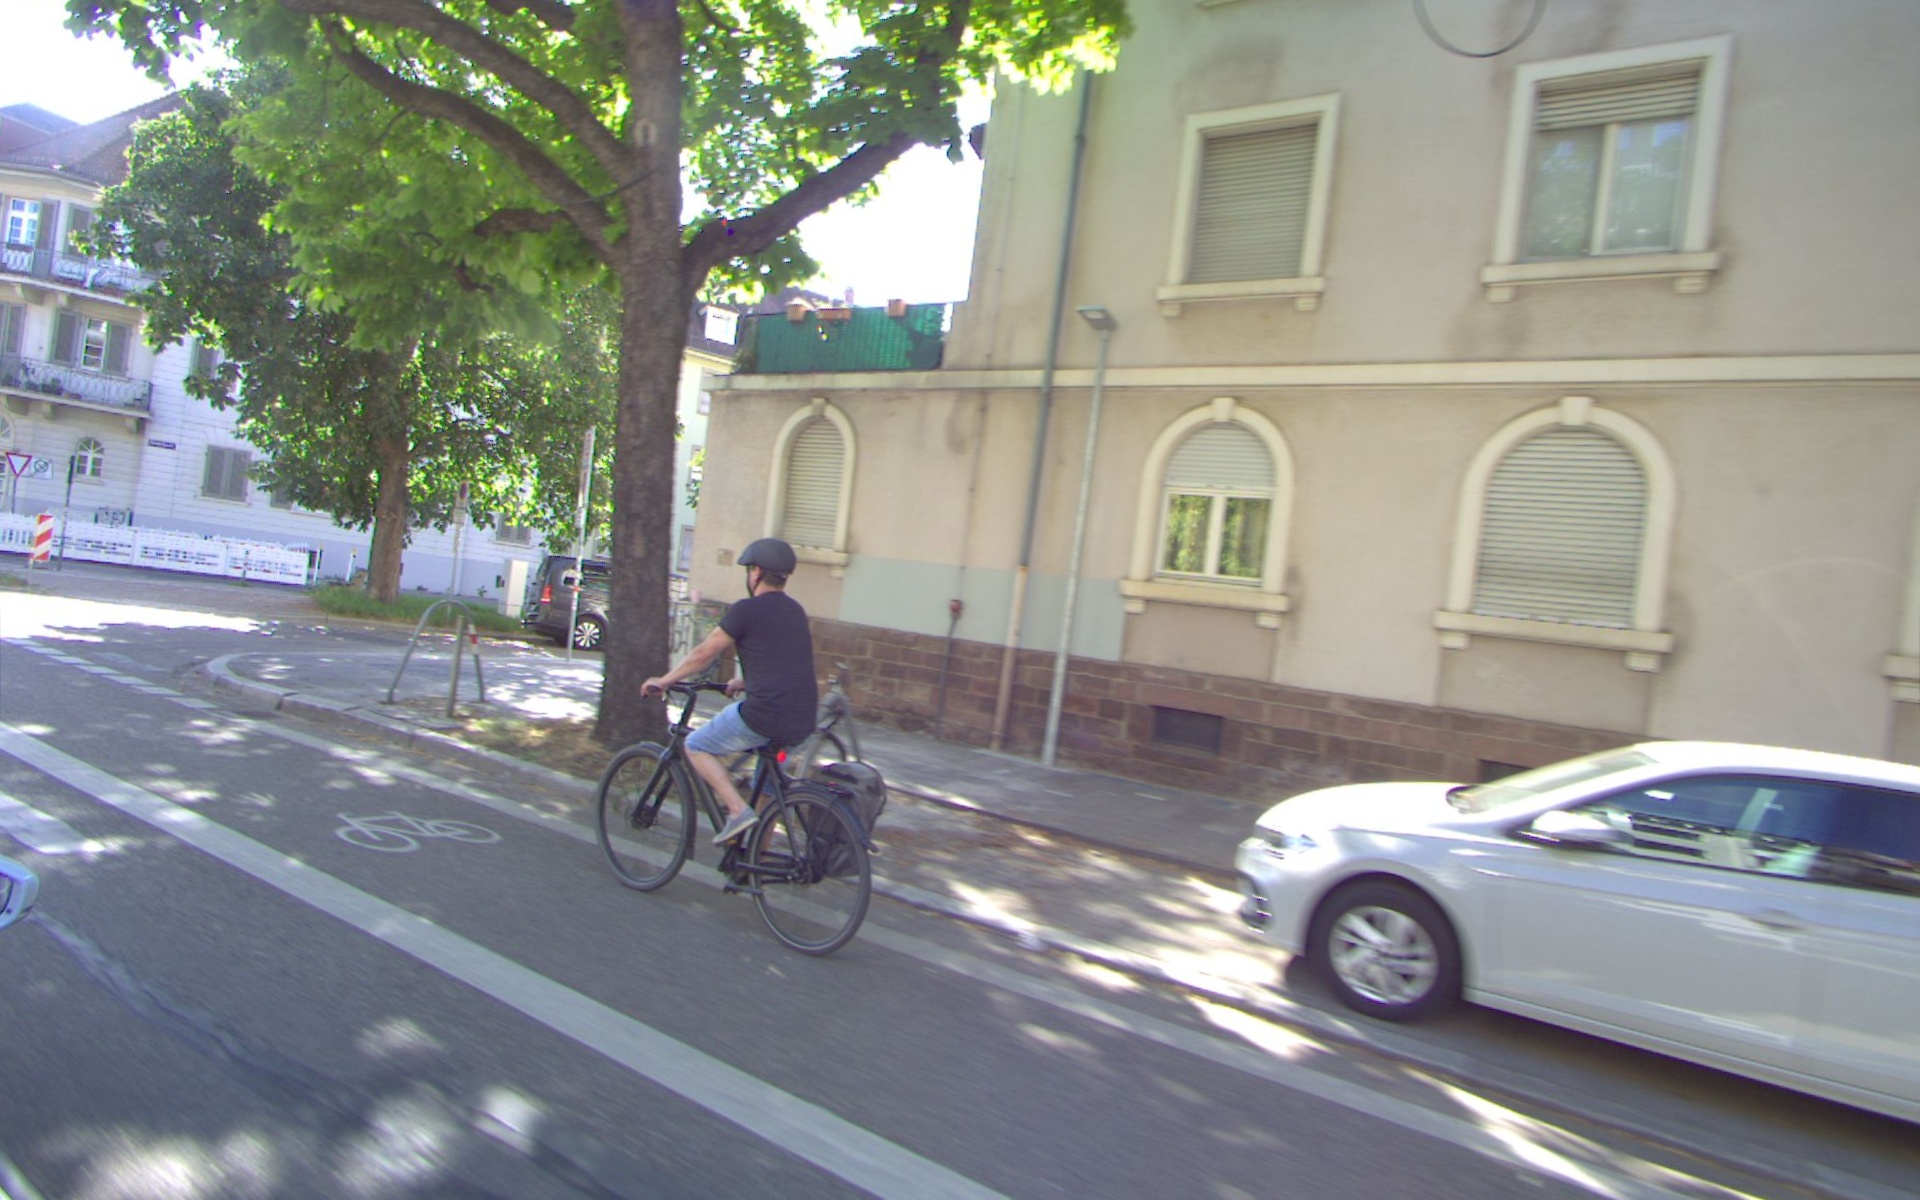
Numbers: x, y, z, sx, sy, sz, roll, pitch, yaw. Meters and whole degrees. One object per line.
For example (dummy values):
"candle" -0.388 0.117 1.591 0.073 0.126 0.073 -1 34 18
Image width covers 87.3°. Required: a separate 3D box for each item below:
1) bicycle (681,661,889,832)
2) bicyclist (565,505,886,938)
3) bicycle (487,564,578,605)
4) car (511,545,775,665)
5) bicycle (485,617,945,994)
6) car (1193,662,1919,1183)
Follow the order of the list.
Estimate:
"bicycle" -1.190 0.978 7.204 0.629 0.992 1.570 7 0 22
"bicyclist" -1.103 0.519 4.781 1.029 1.758 0.763 7 -1 31
"bicycle" -16.374 -0.566 38.629 3.082 1.127 0.521 8 2 -33
"car" -6.848 0.178 21.978 5.019 1.911 1.984 8 -3 -33
"bicycle" -1.219 0.854 4.814 2.061 1.256 0.763 7 -1 31
"car" 3.415 1.314 4.569 4.144 1.490 1.703 7 0 32
